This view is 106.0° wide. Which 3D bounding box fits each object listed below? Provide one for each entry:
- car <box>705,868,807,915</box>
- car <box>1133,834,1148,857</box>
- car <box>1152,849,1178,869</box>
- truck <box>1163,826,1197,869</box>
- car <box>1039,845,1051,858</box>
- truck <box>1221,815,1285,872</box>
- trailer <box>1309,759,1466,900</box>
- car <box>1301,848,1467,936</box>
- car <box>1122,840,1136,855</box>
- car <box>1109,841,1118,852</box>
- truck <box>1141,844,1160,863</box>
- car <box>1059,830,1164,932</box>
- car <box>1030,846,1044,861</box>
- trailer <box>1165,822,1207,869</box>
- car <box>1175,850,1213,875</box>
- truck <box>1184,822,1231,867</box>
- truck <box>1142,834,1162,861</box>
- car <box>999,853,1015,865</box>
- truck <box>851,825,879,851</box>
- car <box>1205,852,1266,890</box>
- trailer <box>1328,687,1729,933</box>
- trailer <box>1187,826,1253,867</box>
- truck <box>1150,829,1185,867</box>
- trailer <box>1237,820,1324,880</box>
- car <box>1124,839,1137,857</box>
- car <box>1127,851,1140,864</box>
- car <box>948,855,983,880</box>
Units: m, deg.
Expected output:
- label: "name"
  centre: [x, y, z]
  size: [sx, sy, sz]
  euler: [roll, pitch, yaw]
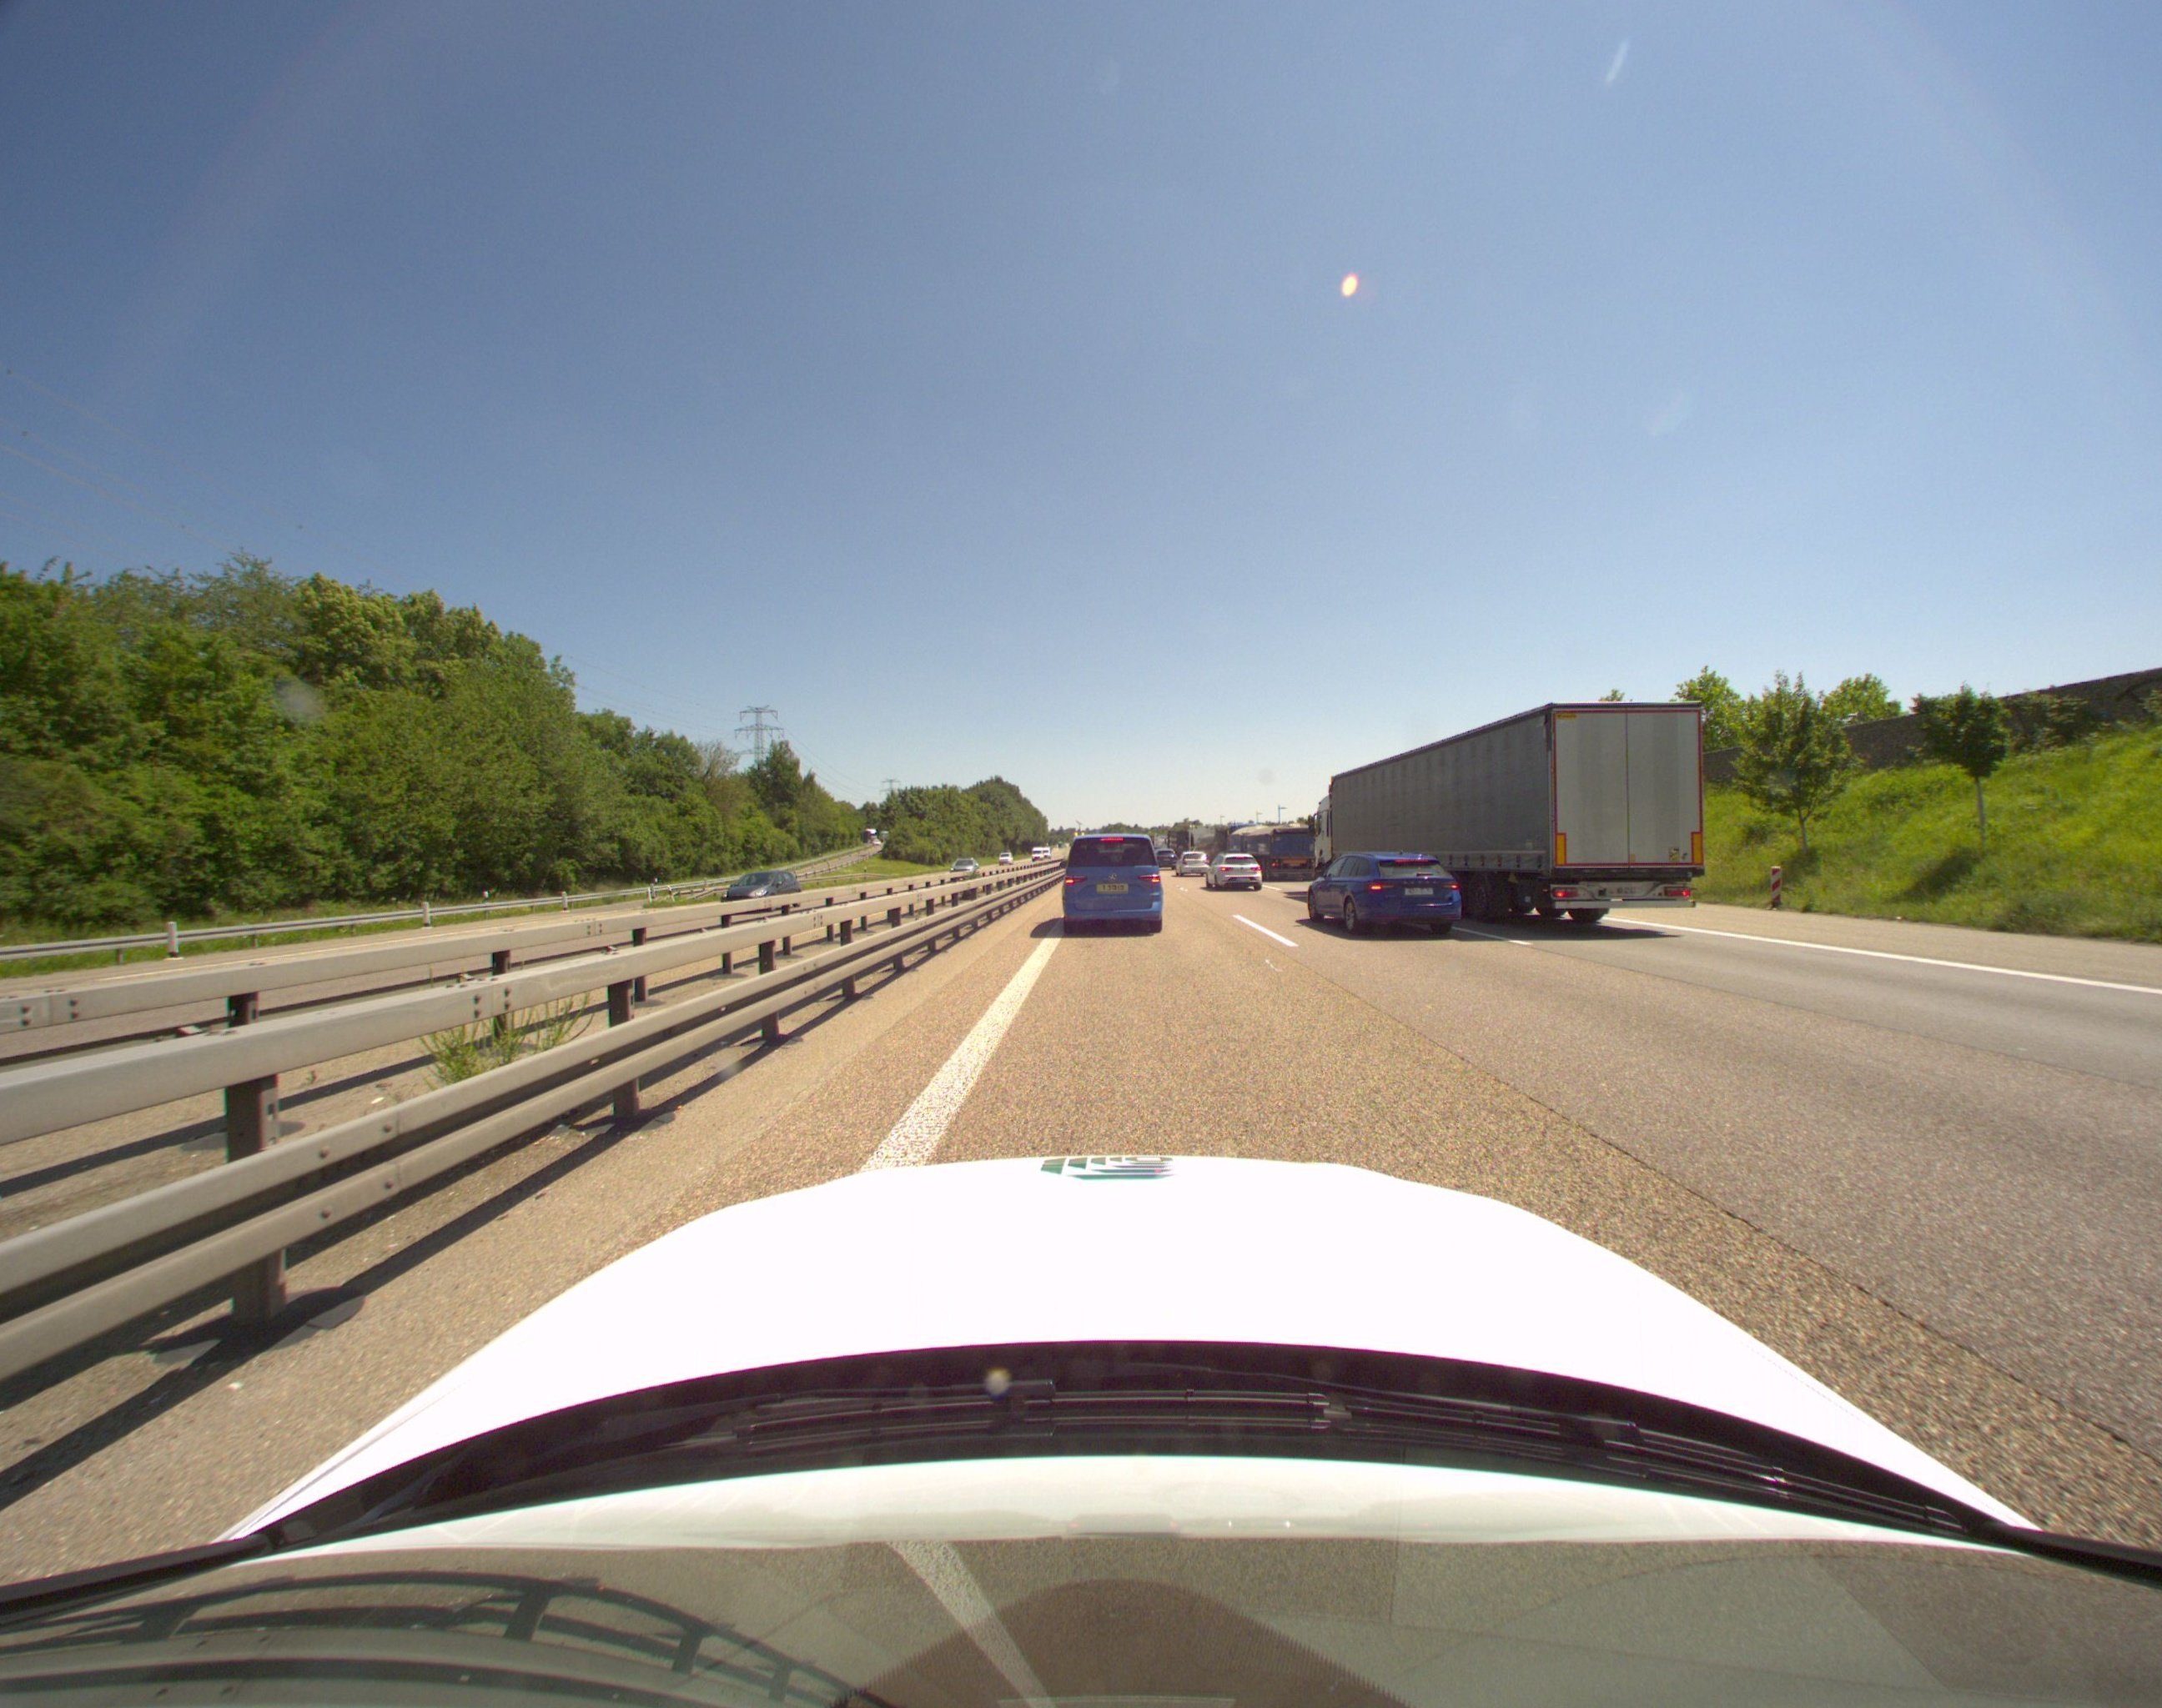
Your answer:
- label: "car"
  centre: [-11.605, 1.286, 29.409]
  size: [1.869, 1.446, 4.146]
  euler: [-3, -1, 1]
- label: "car"
  centre: [13.860, -1.904, 189.222]
  size: [3.206, 5.257, 8.148]
  euler: [0, -1, 2]
- label: "car"
  centre: [6.643, 0.421, 64.460]
  size: [1.774, 1.524, 4.001]
  euler: [0, -1, 2]
- label: "truck"
  centre: [12.443, -0.793, 102.569]
  size: [3.645, 5.180, 5.710]
  euler: [0, -1, 1]
- label: "car"
  centre: [-7.931, -0.557, 181.757]
  size: [2.148, 2.594, 5.892]
  euler: [-2, -1, 1]
- label: "truck"
  centre: [10.636, -0.671, 50.914]
  size: [2.733, 3.311, 7.137]
  euler: [0, 1, 2]
- label: "trailer"
  centre: [9.780, -0.731, 26.791]
  size: [2.913, 4.043, 6.414]
  euler: [-1, 0, 2]
- label: "car"
  centre: [5.580, 0.640, 15.606]
  size: [1.699, 1.441, 4.430]
  euler: [0, -1, 2]
- label: "car"
  centre: [9.285, -1.248, 158.547]
  size: [2.541, 2.717, 5.623]
  euler: [0, -1, 2]
- label: "car"
  centre: [10.554, -2.421, 261.941]
  size: [2.478, 3.204, 7.368]
  euler: [0, -1, -1]
- label: "truck"
  centre: [7.220, -0.039, 84.437]
  size: [1.719, 1.857, 4.001]
  euler: [0, -1, 2]
- label: "car"
  centre: [0.666, 0.504, 16.697]
  size: [1.893, 1.838, 4.003]
  euler: [0, -1, 3]
- label: "car"
  centre: [-8.159, -0.025, 151.459]
  size: [2.045, 2.651, 5.840]
  euler: [-5, -1, 1]
- label: "trailer"
  centre: [12.312, -0.889, 96.434]
  size: [3.633, 5.136, 13.080]
  euler: [0, -1, 2]
- label: "car"
  centre: [6.765, 0.494, 49.005]
  size: [1.833, 1.454, 4.002]
  euler: [0, -1, 2]
- label: "truck"
  centre: [11.931, -0.855, 77.641]
  size: [3.612, 4.094, 7.527]
  euler: [0, -1, 2]
- label: "truck"
  centre: [13.195, -1.164, 151.717]
  size: [3.057, 4.920, 10.694]
  euler: [0, -1, 2]
- label: "car"
  centre: [-12.044, 0.803, 132.603]
  size: [1.858, 1.904, 5.493]
  euler: [-3, -1, 0]
- label: "truck"
  centre: [-62.815, -4.474, 236.505]
  size: [4.699, 7.228, 13.515]
  euler: [0, -1, -28]
- label: "car"
  centre: [6.049, 0.631, 32.201]
  size: [1.860, 1.361, 4.004]
  euler: [0, 0, 3]
- label: "trailer"
  centre: [9.546, -0.761, 20.473]
  size: [2.951, 4.049, 13.759]
  euler: [-1, 0, 2]
- label: "trailer"
  centre: [11.414, -0.505, 68.896]
  size: [3.632, 3.079, 15.781]
  euler: [0, 0, 3]
- label: "truck"
  centre: [12.668, -0.790, 121.097]
  size: [3.609, 5.212, 15.689]
  euler: [0, -1, 1]
- label: "trailer"
  centre: [10.349, -0.271, 43.334]
  size: [2.733, 2.836, 9.121]
  euler: [0, 1, 2]
- label: "car"
  centre: [14.835, -1.859, 245.636]
  size: [3.209, 5.257, 8.139]
  euler: [0, -1, -1]
- label: "car"
  centre: [8.541, 0.619, 132.278]
  size: [1.986, 2.014, 4.001]
  euler: [0, -1, 2]
- label: "car"
  centre: [-7.969, 0.911, 56.487]
  size: [1.767, 1.630, 3.951]
  euler: [0, -1, 1]
